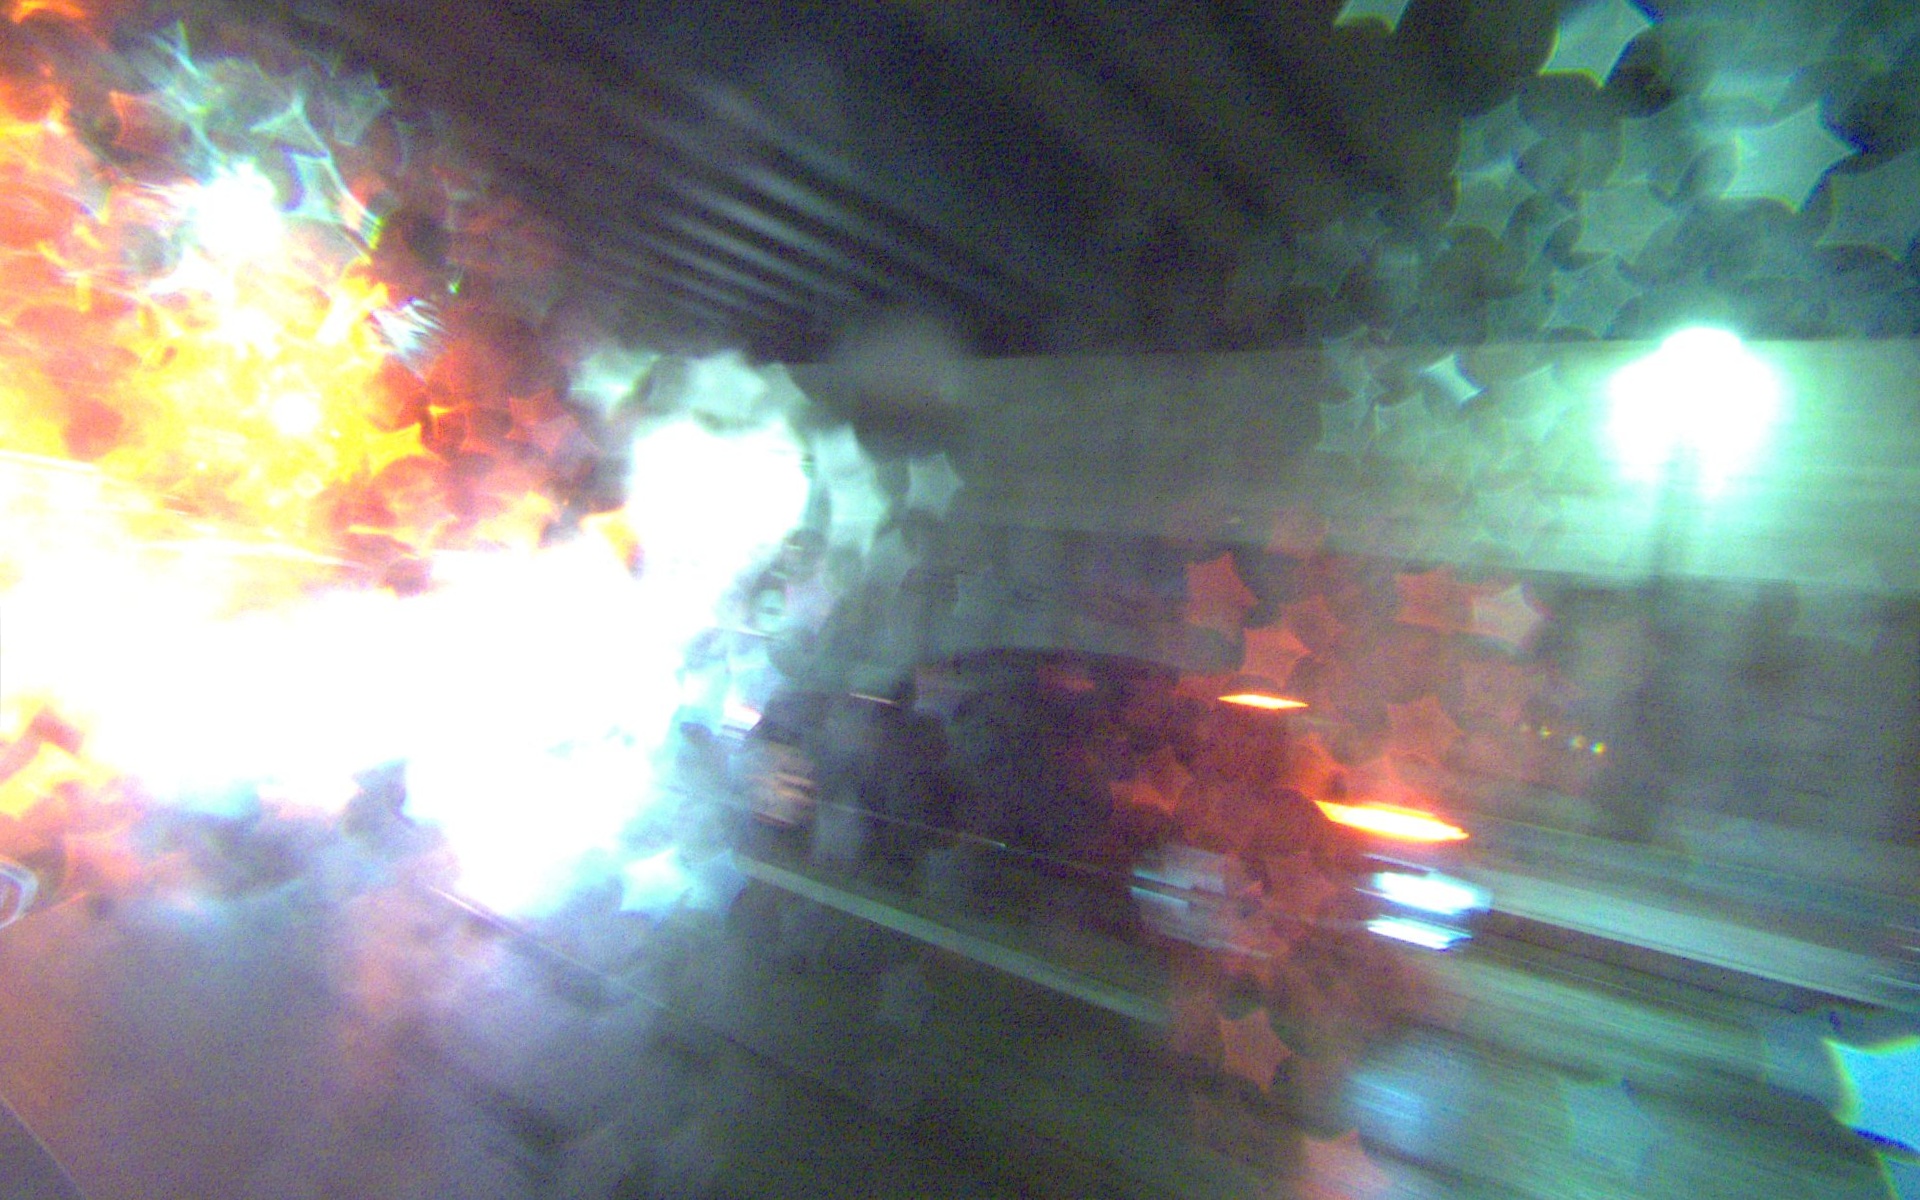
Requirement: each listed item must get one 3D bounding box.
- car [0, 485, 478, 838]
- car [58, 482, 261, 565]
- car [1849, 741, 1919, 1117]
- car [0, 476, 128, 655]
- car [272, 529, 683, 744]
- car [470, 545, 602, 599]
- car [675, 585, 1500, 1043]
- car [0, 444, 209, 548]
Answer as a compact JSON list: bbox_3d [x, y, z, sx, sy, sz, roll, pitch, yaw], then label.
[{"bbox_3d":[-4.964,0.164,6.148,4.096,1.464,1.721,7,-1,34],"label":"car"},{"bbox_3d":[-23.019,-2.152,29.192,4.342,1.642,1.820,9,-1,-35],"label":"car"},{"bbox_3d":[5.921,1.615,3.305,4.092,1.506,1.722,7,1,31],"label":"car"},{"bbox_3d":[-9.728,-0.501,9.484,4.313,1.465,1.720,7,1,34],"label":"car"},{"bbox_3d":[-4.805,0.265,9.815,4.096,1.465,1.720,7,1,34],"label":"car"},{"bbox_3d":[-18.346,-1.198,43.683,1.828,1.609,4.845,7,-2,42],"label":"car"},{"bbox_3d":[0.532,0.946,6.257,4.710,1.505,1.721,7,0,34],"label":"car"},{"bbox_3d":[-21.524,-2.552,24.702,4.800,1.790,1.818,9,-1,-37],"label":"car"}]
